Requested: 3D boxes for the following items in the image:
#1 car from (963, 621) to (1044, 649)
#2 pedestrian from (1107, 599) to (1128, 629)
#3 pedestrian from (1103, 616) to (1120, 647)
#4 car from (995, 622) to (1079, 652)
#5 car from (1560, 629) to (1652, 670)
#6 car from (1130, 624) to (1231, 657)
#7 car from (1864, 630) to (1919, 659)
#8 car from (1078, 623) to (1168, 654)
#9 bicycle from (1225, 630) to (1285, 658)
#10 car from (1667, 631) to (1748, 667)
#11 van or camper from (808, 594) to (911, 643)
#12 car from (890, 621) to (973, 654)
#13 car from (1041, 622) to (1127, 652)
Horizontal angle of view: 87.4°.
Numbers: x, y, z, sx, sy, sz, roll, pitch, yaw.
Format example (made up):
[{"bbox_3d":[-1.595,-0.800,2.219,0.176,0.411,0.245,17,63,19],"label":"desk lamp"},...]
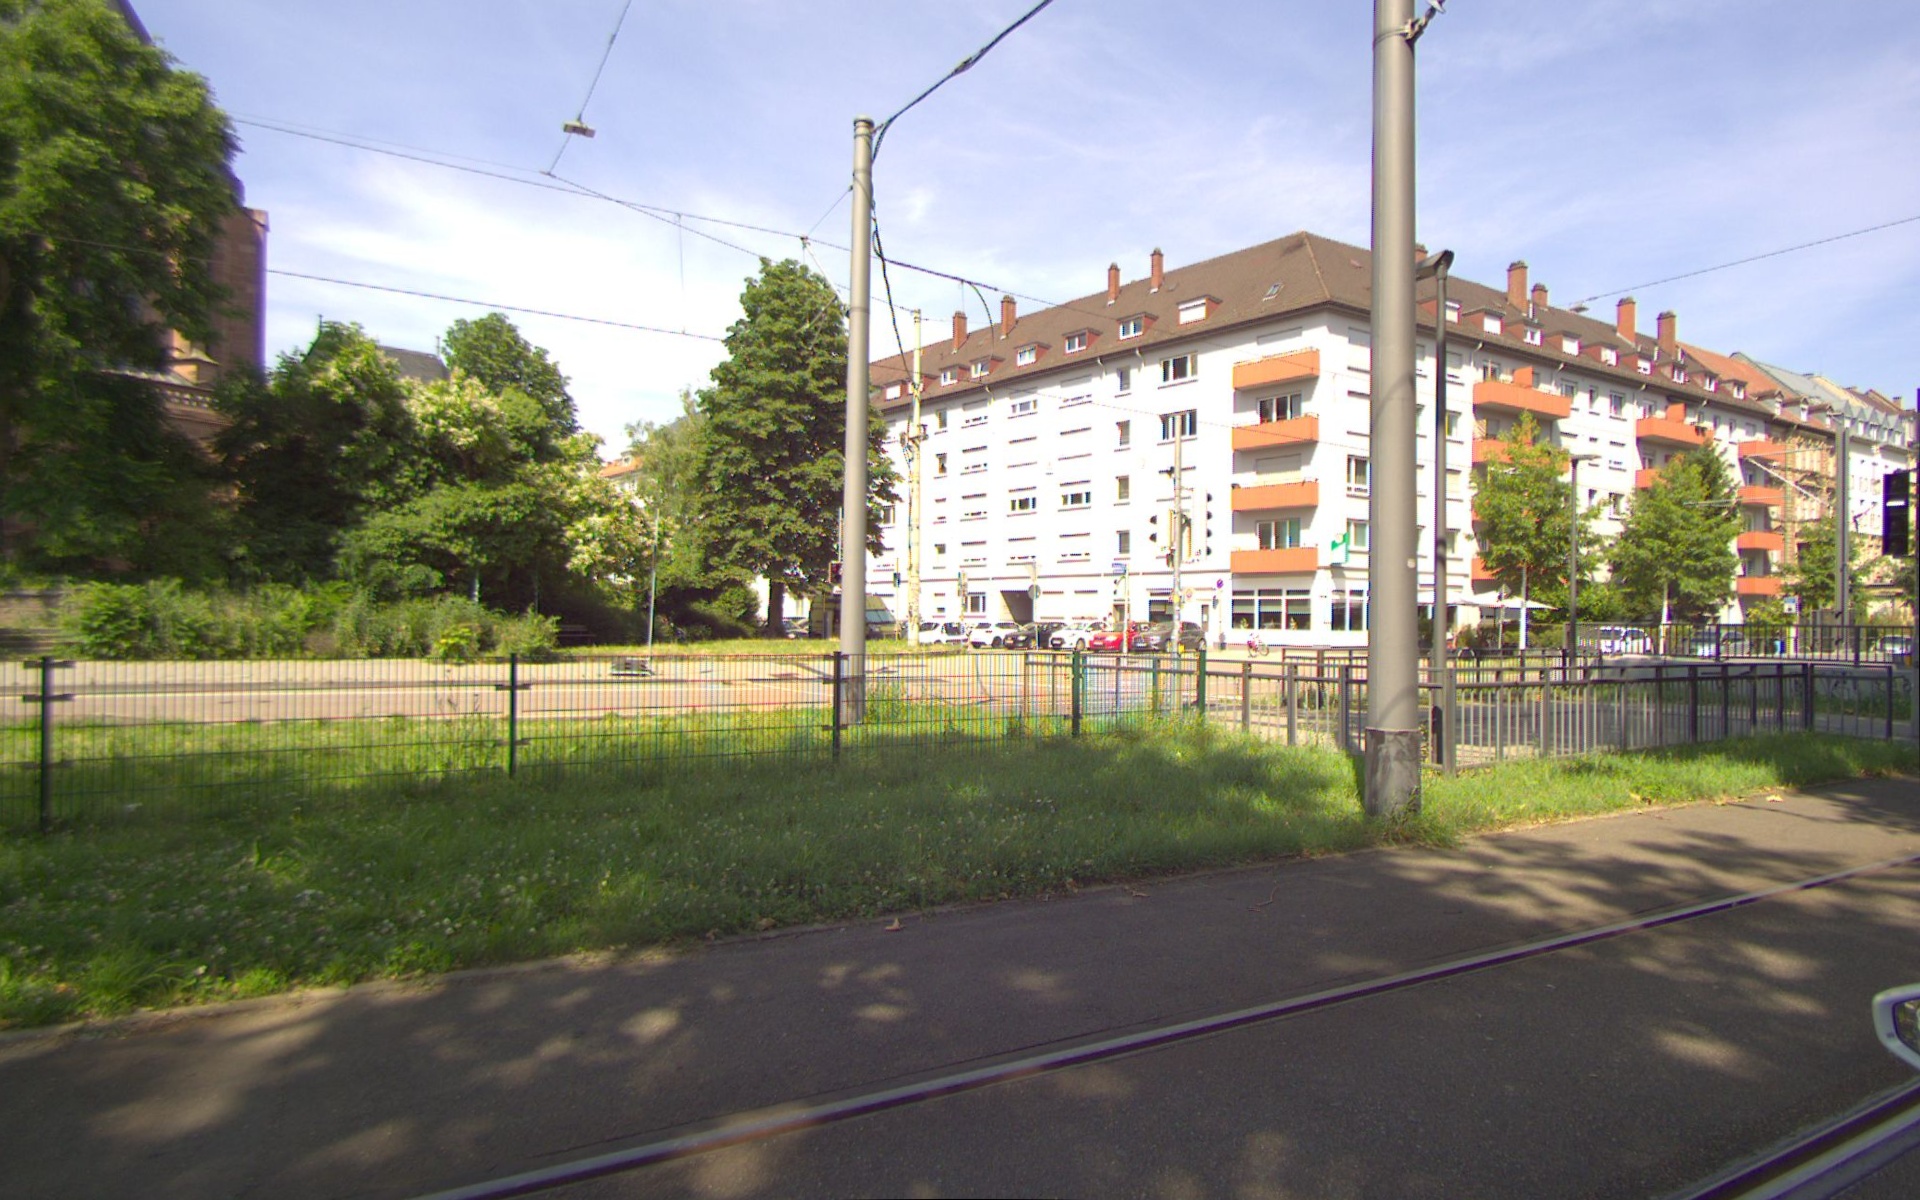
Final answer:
[{"bbox_3d":[2.345,1.859,53.618,4.129,1.425,1.917,1,-1,-38],"label":"car"},{"bbox_3d":[8.313,0.750,53.111,0.846,1.593,0.688,0,-1,36],"label":"pedestrian"},{"bbox_3d":[7.922,1.660,52.572,0.679,1.593,0.544,0,-1,36],"label":"pedestrian"},{"bbox_3d":[3.955,1.884,51.376,4.129,1.425,1.917,2,-1,-38],"label":"car"},{"bbox_3d":[25.766,1.953,40.005,3.961,1.518,1.759,1,-3,-36],"label":"car"},{"bbox_3d":[9.875,1.783,44.838,4.598,1.394,1.821,1,-1,-36],"label":"car"},{"bbox_3d":[51.352,2.420,55.166,3.961,1.518,1.758,2,-1,-36],"label":"car"},{"bbox_3d":[7.709,1.802,47.433,4.129,1.425,1.917,2,-1,-38],"label":"car"},{"bbox_3d":[12.635,1.859,42.971,2.779,1.152,0.905,1,-1,-34],"label":"bicycle"},{"bbox_3d":[33.035,2.140,44.372,3.961,1.518,1.759,1,-3,-36],"label":"car"},{"bbox_3d":[-5.172,0.941,51.077,2.228,2.360,5.704,2,-1,-42],"label":"van or camper"},{"bbox_3d":[-1.352,1.706,46.685,3.702,1.425,1.823,-1,-2,44],"label":"car"},{"bbox_3d":[6.167,1.833,49.750,4.129,1.425,1.917,2,-1,-38],"label":"car"}]
